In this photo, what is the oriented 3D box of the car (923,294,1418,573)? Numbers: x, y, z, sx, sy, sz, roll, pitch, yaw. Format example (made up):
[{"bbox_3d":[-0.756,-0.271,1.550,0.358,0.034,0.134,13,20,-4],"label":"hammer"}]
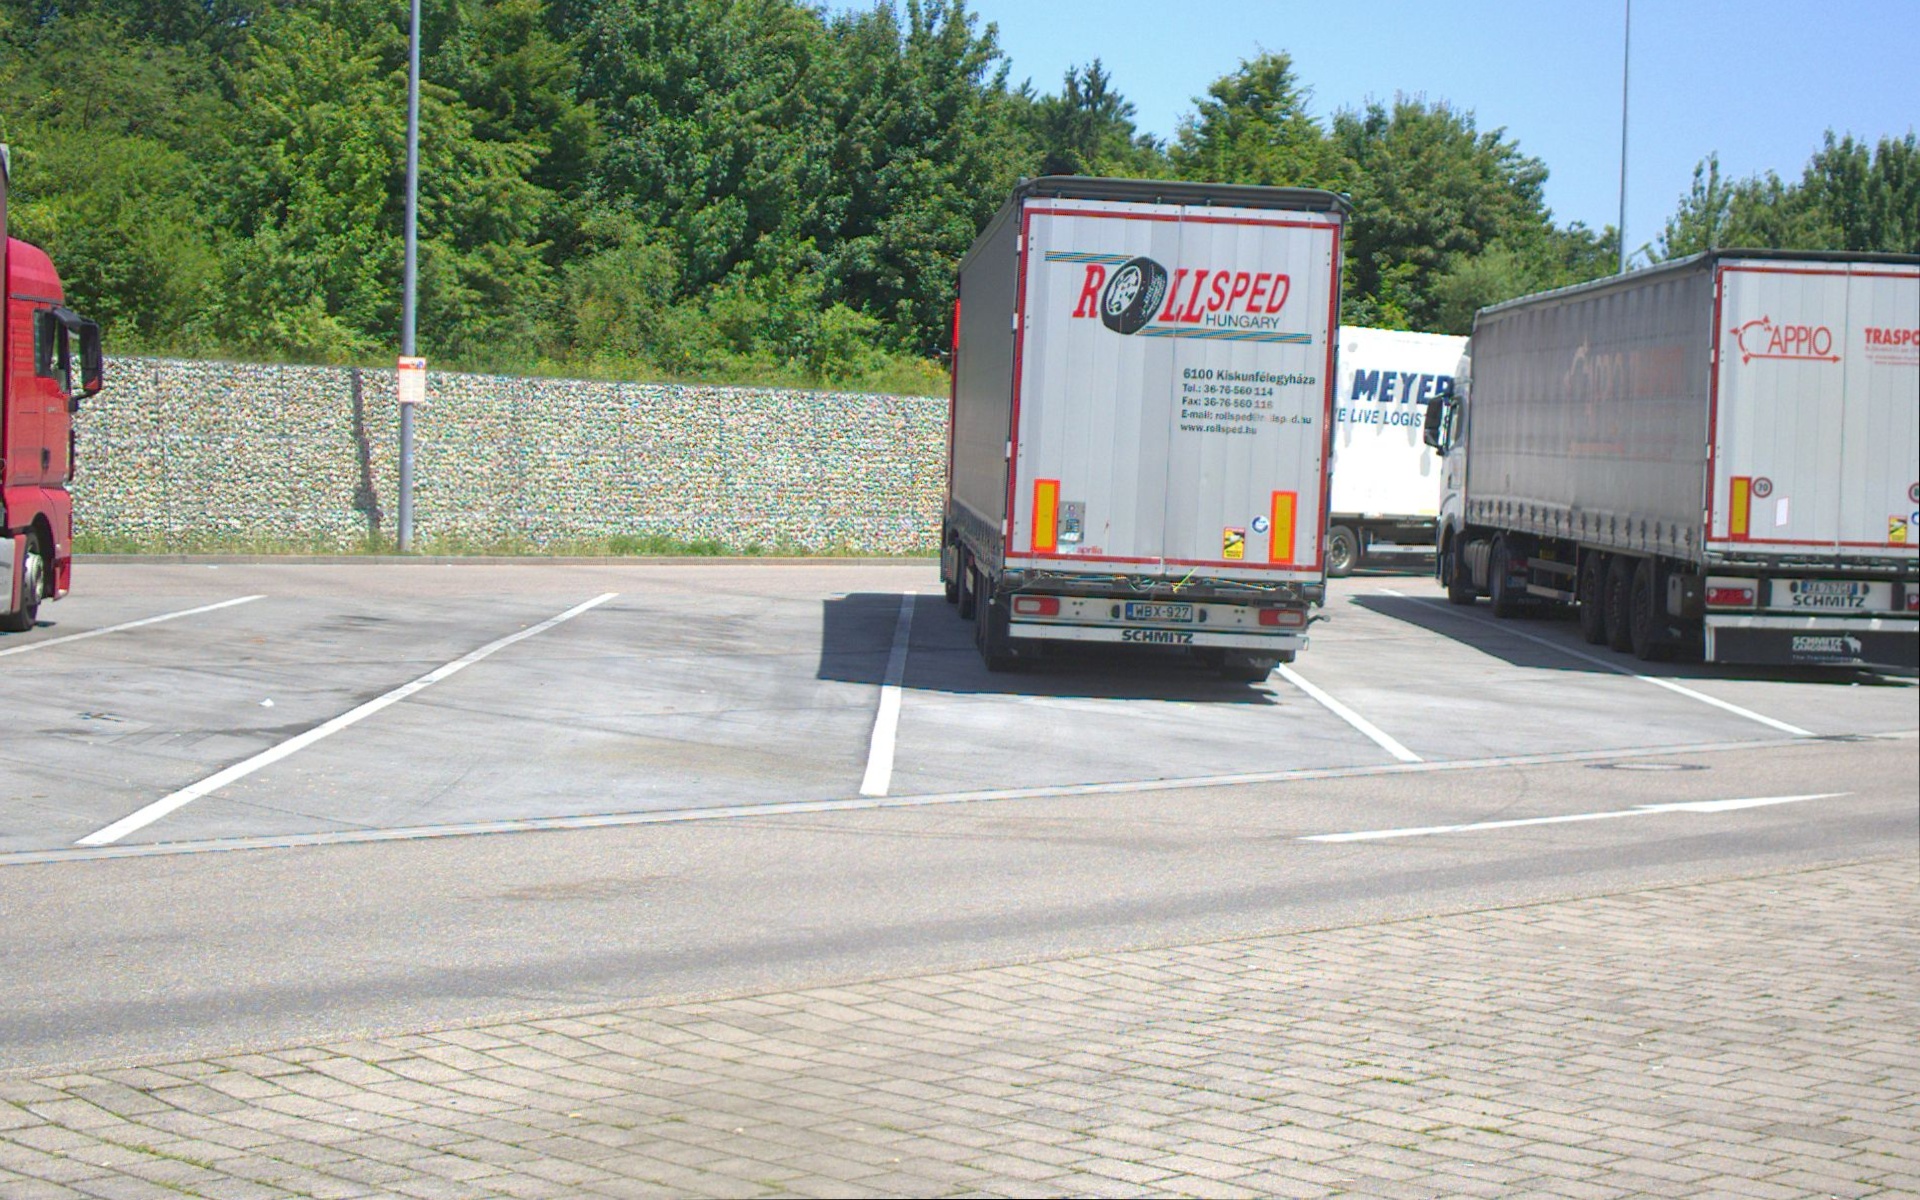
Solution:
[{"bbox_3d":[3.455,-2.543,54.107,2.687,4.030,8.445,6,5,44],"label":"car"}]

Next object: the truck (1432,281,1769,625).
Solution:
[{"bbox_3d":[8.130,-1.950,44.566,2.866,4.023,6.957,2,3,0],"label":"truck"}]

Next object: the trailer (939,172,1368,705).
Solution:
[{"bbox_3d":[1.444,-1.634,33.602,2.866,4.023,14.243,2,3,-2],"label":"trailer"}]

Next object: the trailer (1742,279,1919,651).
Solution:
[{"bbox_3d":[11.844,-1.530,39.003,2.866,4.023,12.439,2,3,0],"label":"trailer"}]

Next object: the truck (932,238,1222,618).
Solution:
[{"bbox_3d":[1.232,-2.052,40.681,2.866,4.023,7.028,2,3,-2],"label":"truck"}]

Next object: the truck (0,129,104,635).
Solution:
[{"bbox_3d":[-9.145,-1.807,27.965,2.696,4.099,6.240,2,3,0],"label":"truck"}]

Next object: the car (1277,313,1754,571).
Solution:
[{"bbox_3d":[9.995,-2.702,60.748,2.687,4.174,10.190,6,5,45],"label":"car"}]

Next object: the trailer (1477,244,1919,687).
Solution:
[{"bbox_3d":[8.189,-1.568,37.939,2.866,4.023,12.439,2,3,0],"label":"trailer"}]
